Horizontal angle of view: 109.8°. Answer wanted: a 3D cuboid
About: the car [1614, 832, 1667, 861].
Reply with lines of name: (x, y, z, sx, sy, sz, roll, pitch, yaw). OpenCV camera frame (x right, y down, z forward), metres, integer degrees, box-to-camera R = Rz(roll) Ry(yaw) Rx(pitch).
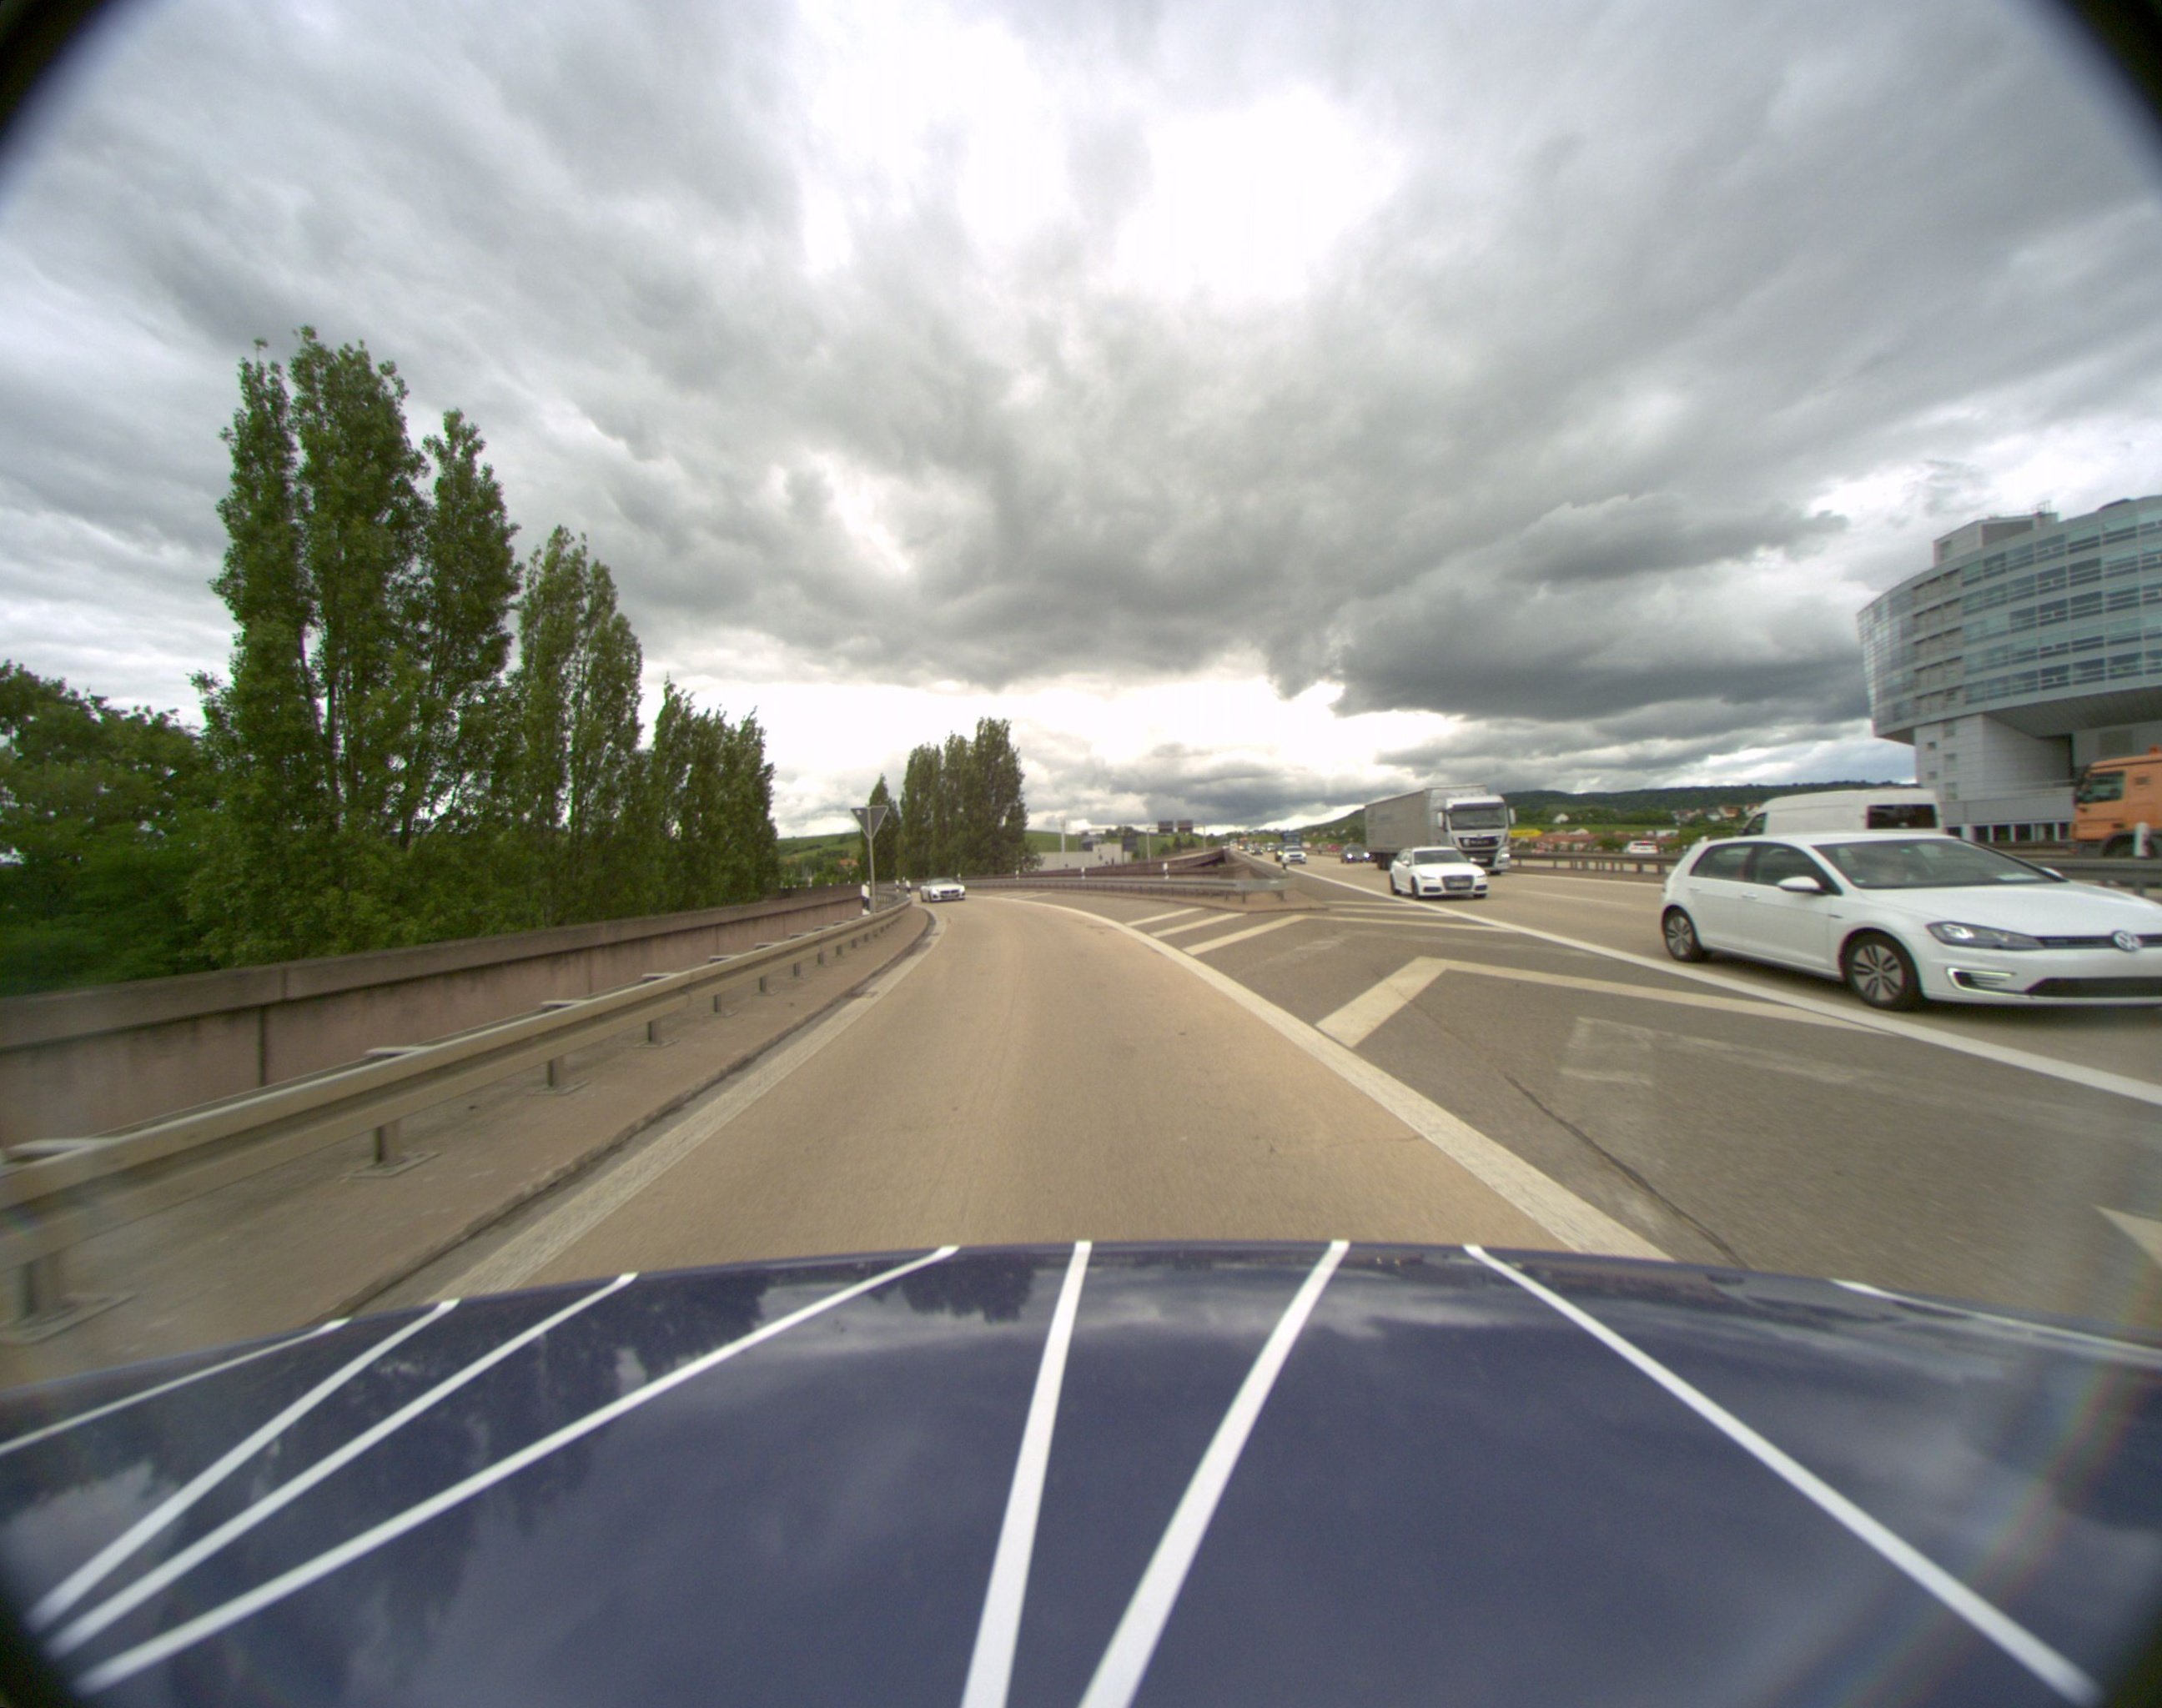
car: (44.184, -0.596, 60.075, 1.996, 2.002, 4.004, -7, 0, 17)

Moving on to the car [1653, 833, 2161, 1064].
car: (7.325, 0.623, 6.927, 1.712, 1.488, 4.003, -2, 0, 10)

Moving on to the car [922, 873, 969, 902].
car: (-7.490, 1.775, 41.711, 1.865, 1.337, 4.817, -2, 0, -18)

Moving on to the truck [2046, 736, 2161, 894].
truck: (25.040, -0.850, 16.201, 2.746, 3.459, 5.110, 0, 0, 9)

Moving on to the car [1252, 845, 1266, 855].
car: (31.408, -0.676, 133.985, 1.996, 1.672, 4.005, -2, 0, 16)

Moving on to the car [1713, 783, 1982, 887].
car: (22.375, -0.485, 22.756, 2.583, 2.628, 6.196, -1, 0, 11)

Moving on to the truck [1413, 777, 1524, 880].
truck: (16.636, -1.054, 32.996, 2.861, 3.988, 4.794, -3, 1, 10)

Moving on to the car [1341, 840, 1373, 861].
car: (22.346, -0.293, 61.648, 1.786, 1.509, 4.003, -4, -1, 11)

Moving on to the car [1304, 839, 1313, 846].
car: (56.753, -2.853, 189.534, 1.686, 1.509, 3.653, -4, -1, 11)

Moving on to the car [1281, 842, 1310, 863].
car: (19.124, -0.129, 67.954, 1.997, 1.672, 4.003, -2, 0, 9)

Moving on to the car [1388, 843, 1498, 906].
car: (9.976, 0.513, 21.245, 1.786, 1.509, 4.003, -3, 0, 11)

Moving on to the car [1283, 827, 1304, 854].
car: (31.311, -1.947, 111.991, 2.362, 3.639, 4.803, -4, 0, 11)

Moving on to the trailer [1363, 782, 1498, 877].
trailer: (17.861, -1.173, 40.187, 2.861, 3.988, 13.982, -3, 1, 10)
